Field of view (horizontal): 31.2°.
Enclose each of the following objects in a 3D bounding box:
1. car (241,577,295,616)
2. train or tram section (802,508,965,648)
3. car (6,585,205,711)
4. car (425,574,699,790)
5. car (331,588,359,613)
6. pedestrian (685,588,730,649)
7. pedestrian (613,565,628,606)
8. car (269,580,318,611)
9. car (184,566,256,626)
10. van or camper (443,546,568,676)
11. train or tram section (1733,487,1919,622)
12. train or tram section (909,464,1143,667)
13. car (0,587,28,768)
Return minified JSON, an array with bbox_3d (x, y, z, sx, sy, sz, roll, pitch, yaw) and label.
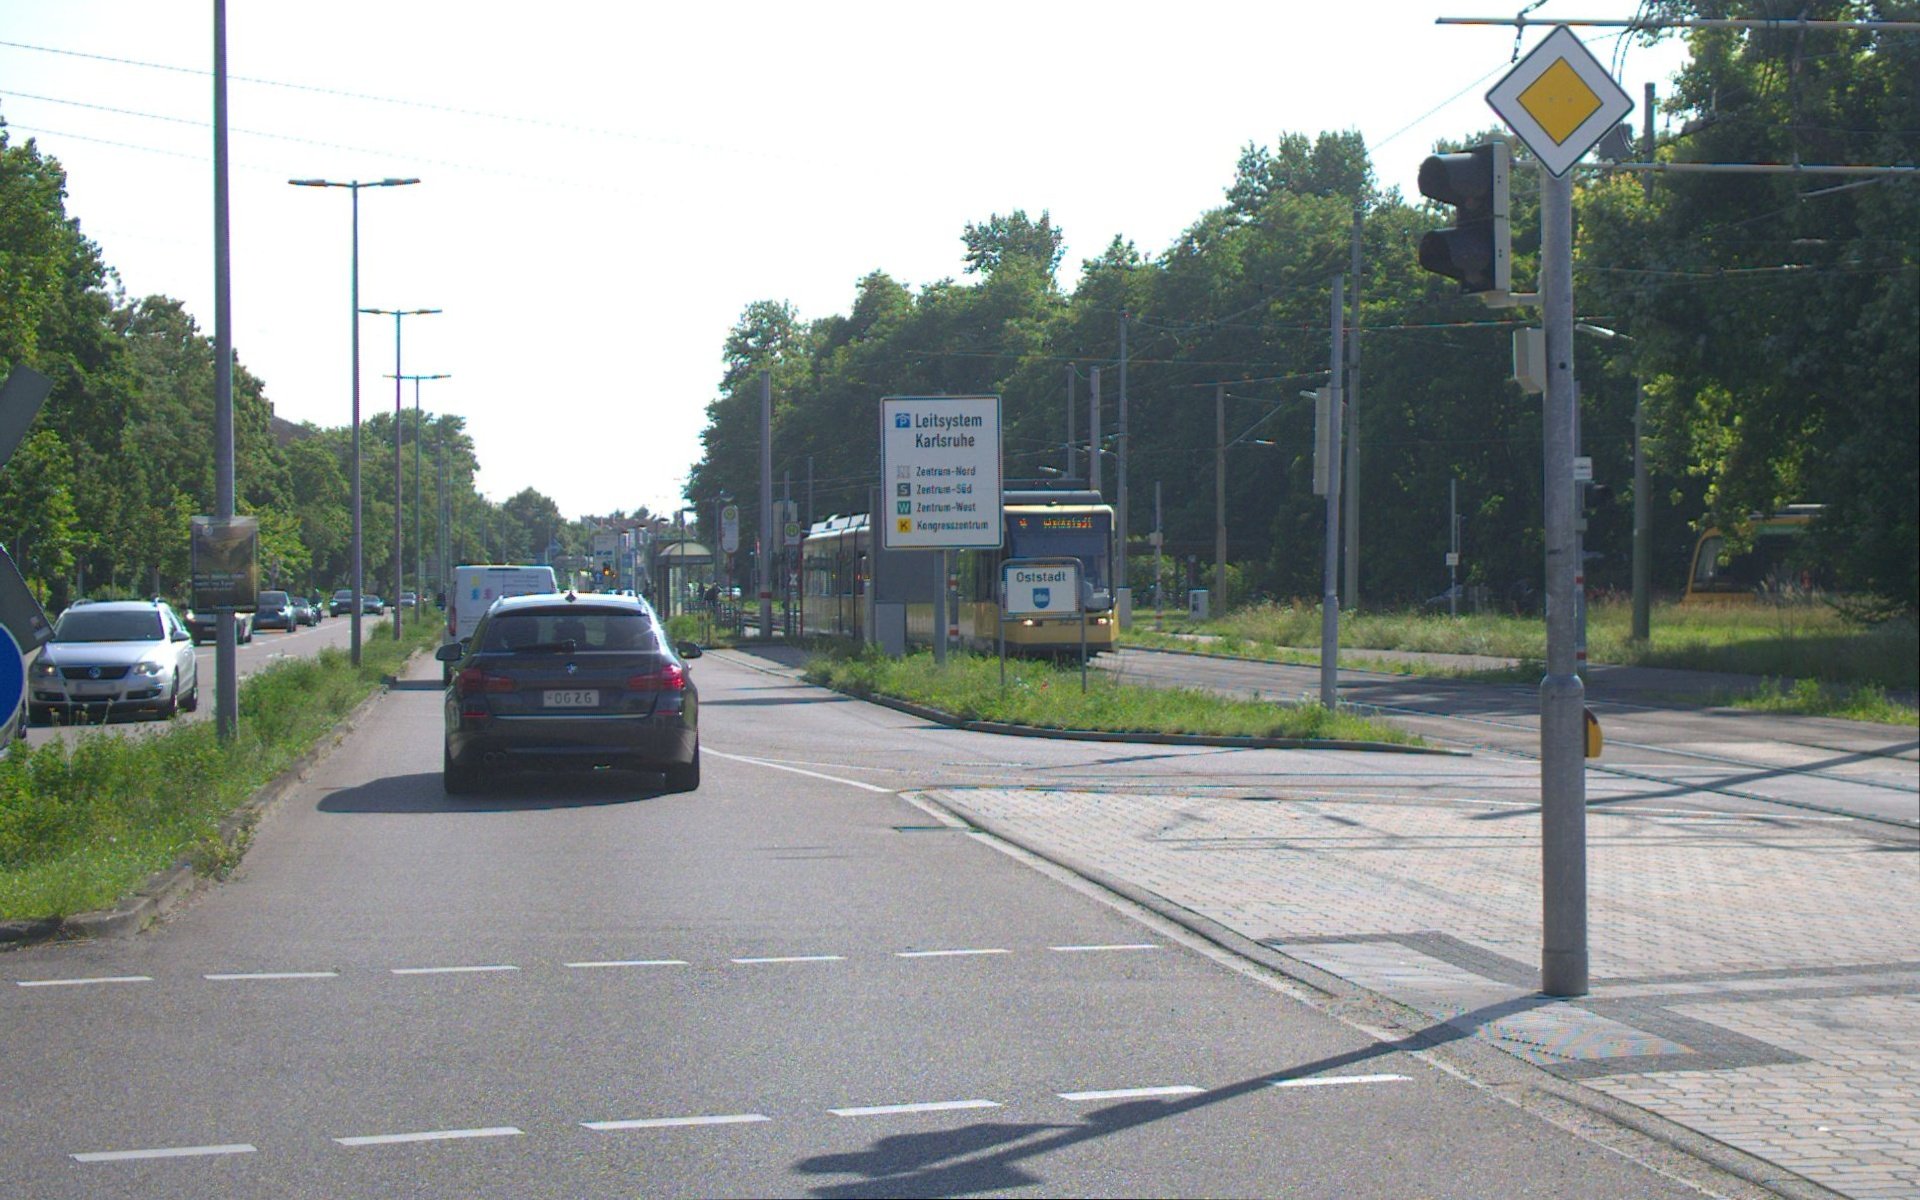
[{"bbox_3d":[-26.295,-0.142,130.736,1.788,1.410,4.387,0,1,-8],"label":"car"},{"bbox_3d":[-2.236,-0.523,92.898,2.684,3.469,14.972,0,0,-8],"label":"train or tram section"},{"bbox_3d":[-10.776,0.569,43.632,1.848,1.472,4.647,0,1,-6],"label":"car"},{"bbox_3d":[-3.058,0.562,26.221,1.903,1.500,4.066,0,0,-7],"label":"car"},{"bbox_3d":[-37.446,0.034,209.268,1.533,1.481,4.001,0,0,-8],"label":"car"},{"bbox_3d":[-6.851,0.493,93.159,0.999,1.629,0.720,0,0,25],"label":"pedestrian"},{"bbox_3d":[-16.702,-0.702,169.293,0.698,2.007,0.702,0,0,-8],"label":"pedestrian"},{"bbox_3d":[-29.226,-0.217,150.804,1.788,1.323,4.737,0,1,-7],"label":"car"},{"bbox_3d":[-22.230,-0.135,103.372,1.788,1.766,4.571,0,1,-8],"label":"car"},{"bbox_3d":[-7.649,0.153,57.843,1.993,2.089,4.599,0,1,-8],"label":"van or camper"},{"bbox_3d":[27.234,-1.223,92.090,12.413,3.567,3.050,0,0,22],"label":"train or tram section"},{"bbox_3d":[1.095,-0.596,67.921,2.795,3.606,12.958,0,0,-7],"label":"train or tram section"},{"bbox_3d":[-8.504,0.643,26.836,1.828,1.430,4.382,-1,1,-8],"label":"car"}]
